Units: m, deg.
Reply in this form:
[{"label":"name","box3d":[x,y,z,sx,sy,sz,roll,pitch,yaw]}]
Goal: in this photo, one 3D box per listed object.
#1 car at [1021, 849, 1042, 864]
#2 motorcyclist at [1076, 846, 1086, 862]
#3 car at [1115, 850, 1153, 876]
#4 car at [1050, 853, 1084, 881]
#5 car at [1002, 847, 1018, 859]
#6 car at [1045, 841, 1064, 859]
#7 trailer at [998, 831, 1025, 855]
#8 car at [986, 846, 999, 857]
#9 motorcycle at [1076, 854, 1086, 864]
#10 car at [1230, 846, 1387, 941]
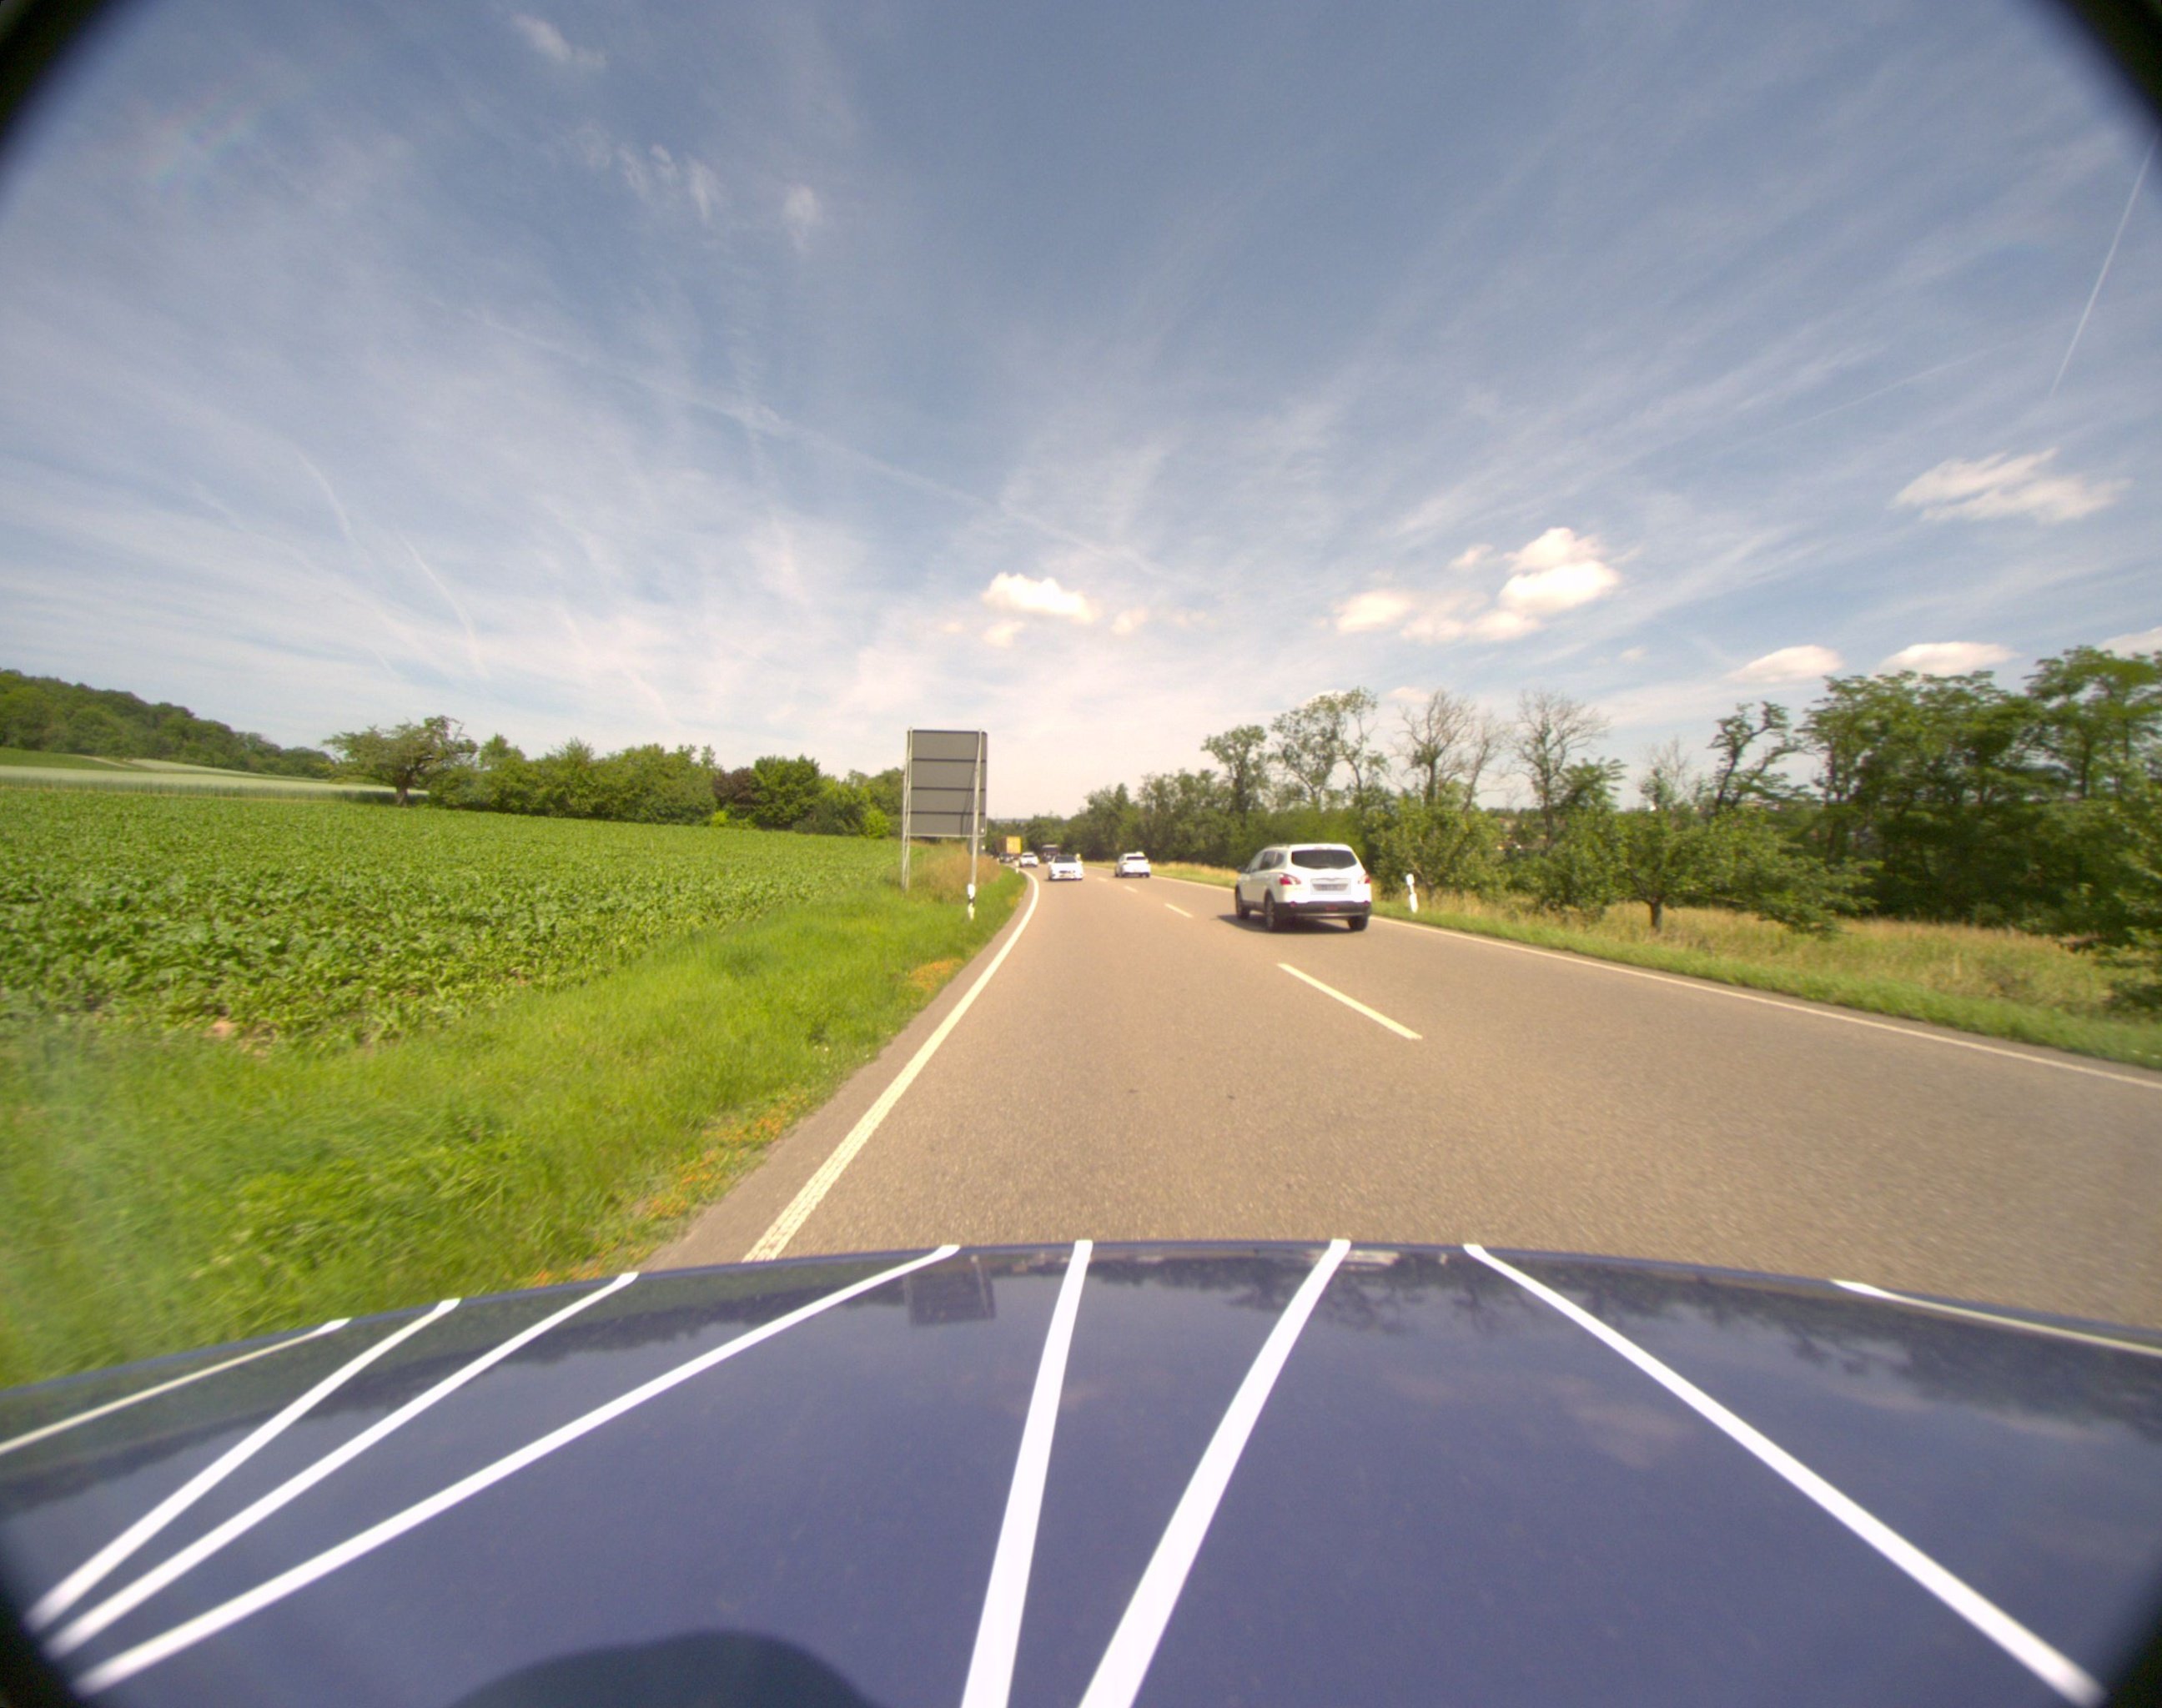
[{"label":"car","box3d":[-5.383,0.269,81.881,1.867,1.480,3.996,-2,2,-8]},{"label":"motorcyclist","box3d":[0.003,-0.011,78.751,0.921,1.708,0.962,-1,1,-5]},{"label":"car","box3d":[3.233,0.530,47.130,1.796,1.513,4.158,-1,0,-4]},{"label":"car","box3d":[-0.848,0.706,44.456,1.773,1.437,3.998,-2,1,-3]},{"label":"car","box3d":[-10.249,-0.134,109.516,1.826,1.511,3.995,-2,2,-12]},{"label":"car","box3d":[-3.528,-0.584,100.809,2.177,2.290,4.903,-2,1,-6]},{"label":"trailer","box3d":[-12.621,-1.995,137.253,3.008,4.020,12.897,0,1,-14]},{"label":"car","box3d":[-15.285,-0.436,130.748,1.667,1.641,3.994,-2,2,-14]},{"label":"motorcycle","box3d":[0.004,0.497,78.686,0.759,0.988,2.278,-2,1,-5]},{"label":"car","box3d":[4.359,0.670,15.307,1.838,1.607,4.361,-1,0,0]}]
